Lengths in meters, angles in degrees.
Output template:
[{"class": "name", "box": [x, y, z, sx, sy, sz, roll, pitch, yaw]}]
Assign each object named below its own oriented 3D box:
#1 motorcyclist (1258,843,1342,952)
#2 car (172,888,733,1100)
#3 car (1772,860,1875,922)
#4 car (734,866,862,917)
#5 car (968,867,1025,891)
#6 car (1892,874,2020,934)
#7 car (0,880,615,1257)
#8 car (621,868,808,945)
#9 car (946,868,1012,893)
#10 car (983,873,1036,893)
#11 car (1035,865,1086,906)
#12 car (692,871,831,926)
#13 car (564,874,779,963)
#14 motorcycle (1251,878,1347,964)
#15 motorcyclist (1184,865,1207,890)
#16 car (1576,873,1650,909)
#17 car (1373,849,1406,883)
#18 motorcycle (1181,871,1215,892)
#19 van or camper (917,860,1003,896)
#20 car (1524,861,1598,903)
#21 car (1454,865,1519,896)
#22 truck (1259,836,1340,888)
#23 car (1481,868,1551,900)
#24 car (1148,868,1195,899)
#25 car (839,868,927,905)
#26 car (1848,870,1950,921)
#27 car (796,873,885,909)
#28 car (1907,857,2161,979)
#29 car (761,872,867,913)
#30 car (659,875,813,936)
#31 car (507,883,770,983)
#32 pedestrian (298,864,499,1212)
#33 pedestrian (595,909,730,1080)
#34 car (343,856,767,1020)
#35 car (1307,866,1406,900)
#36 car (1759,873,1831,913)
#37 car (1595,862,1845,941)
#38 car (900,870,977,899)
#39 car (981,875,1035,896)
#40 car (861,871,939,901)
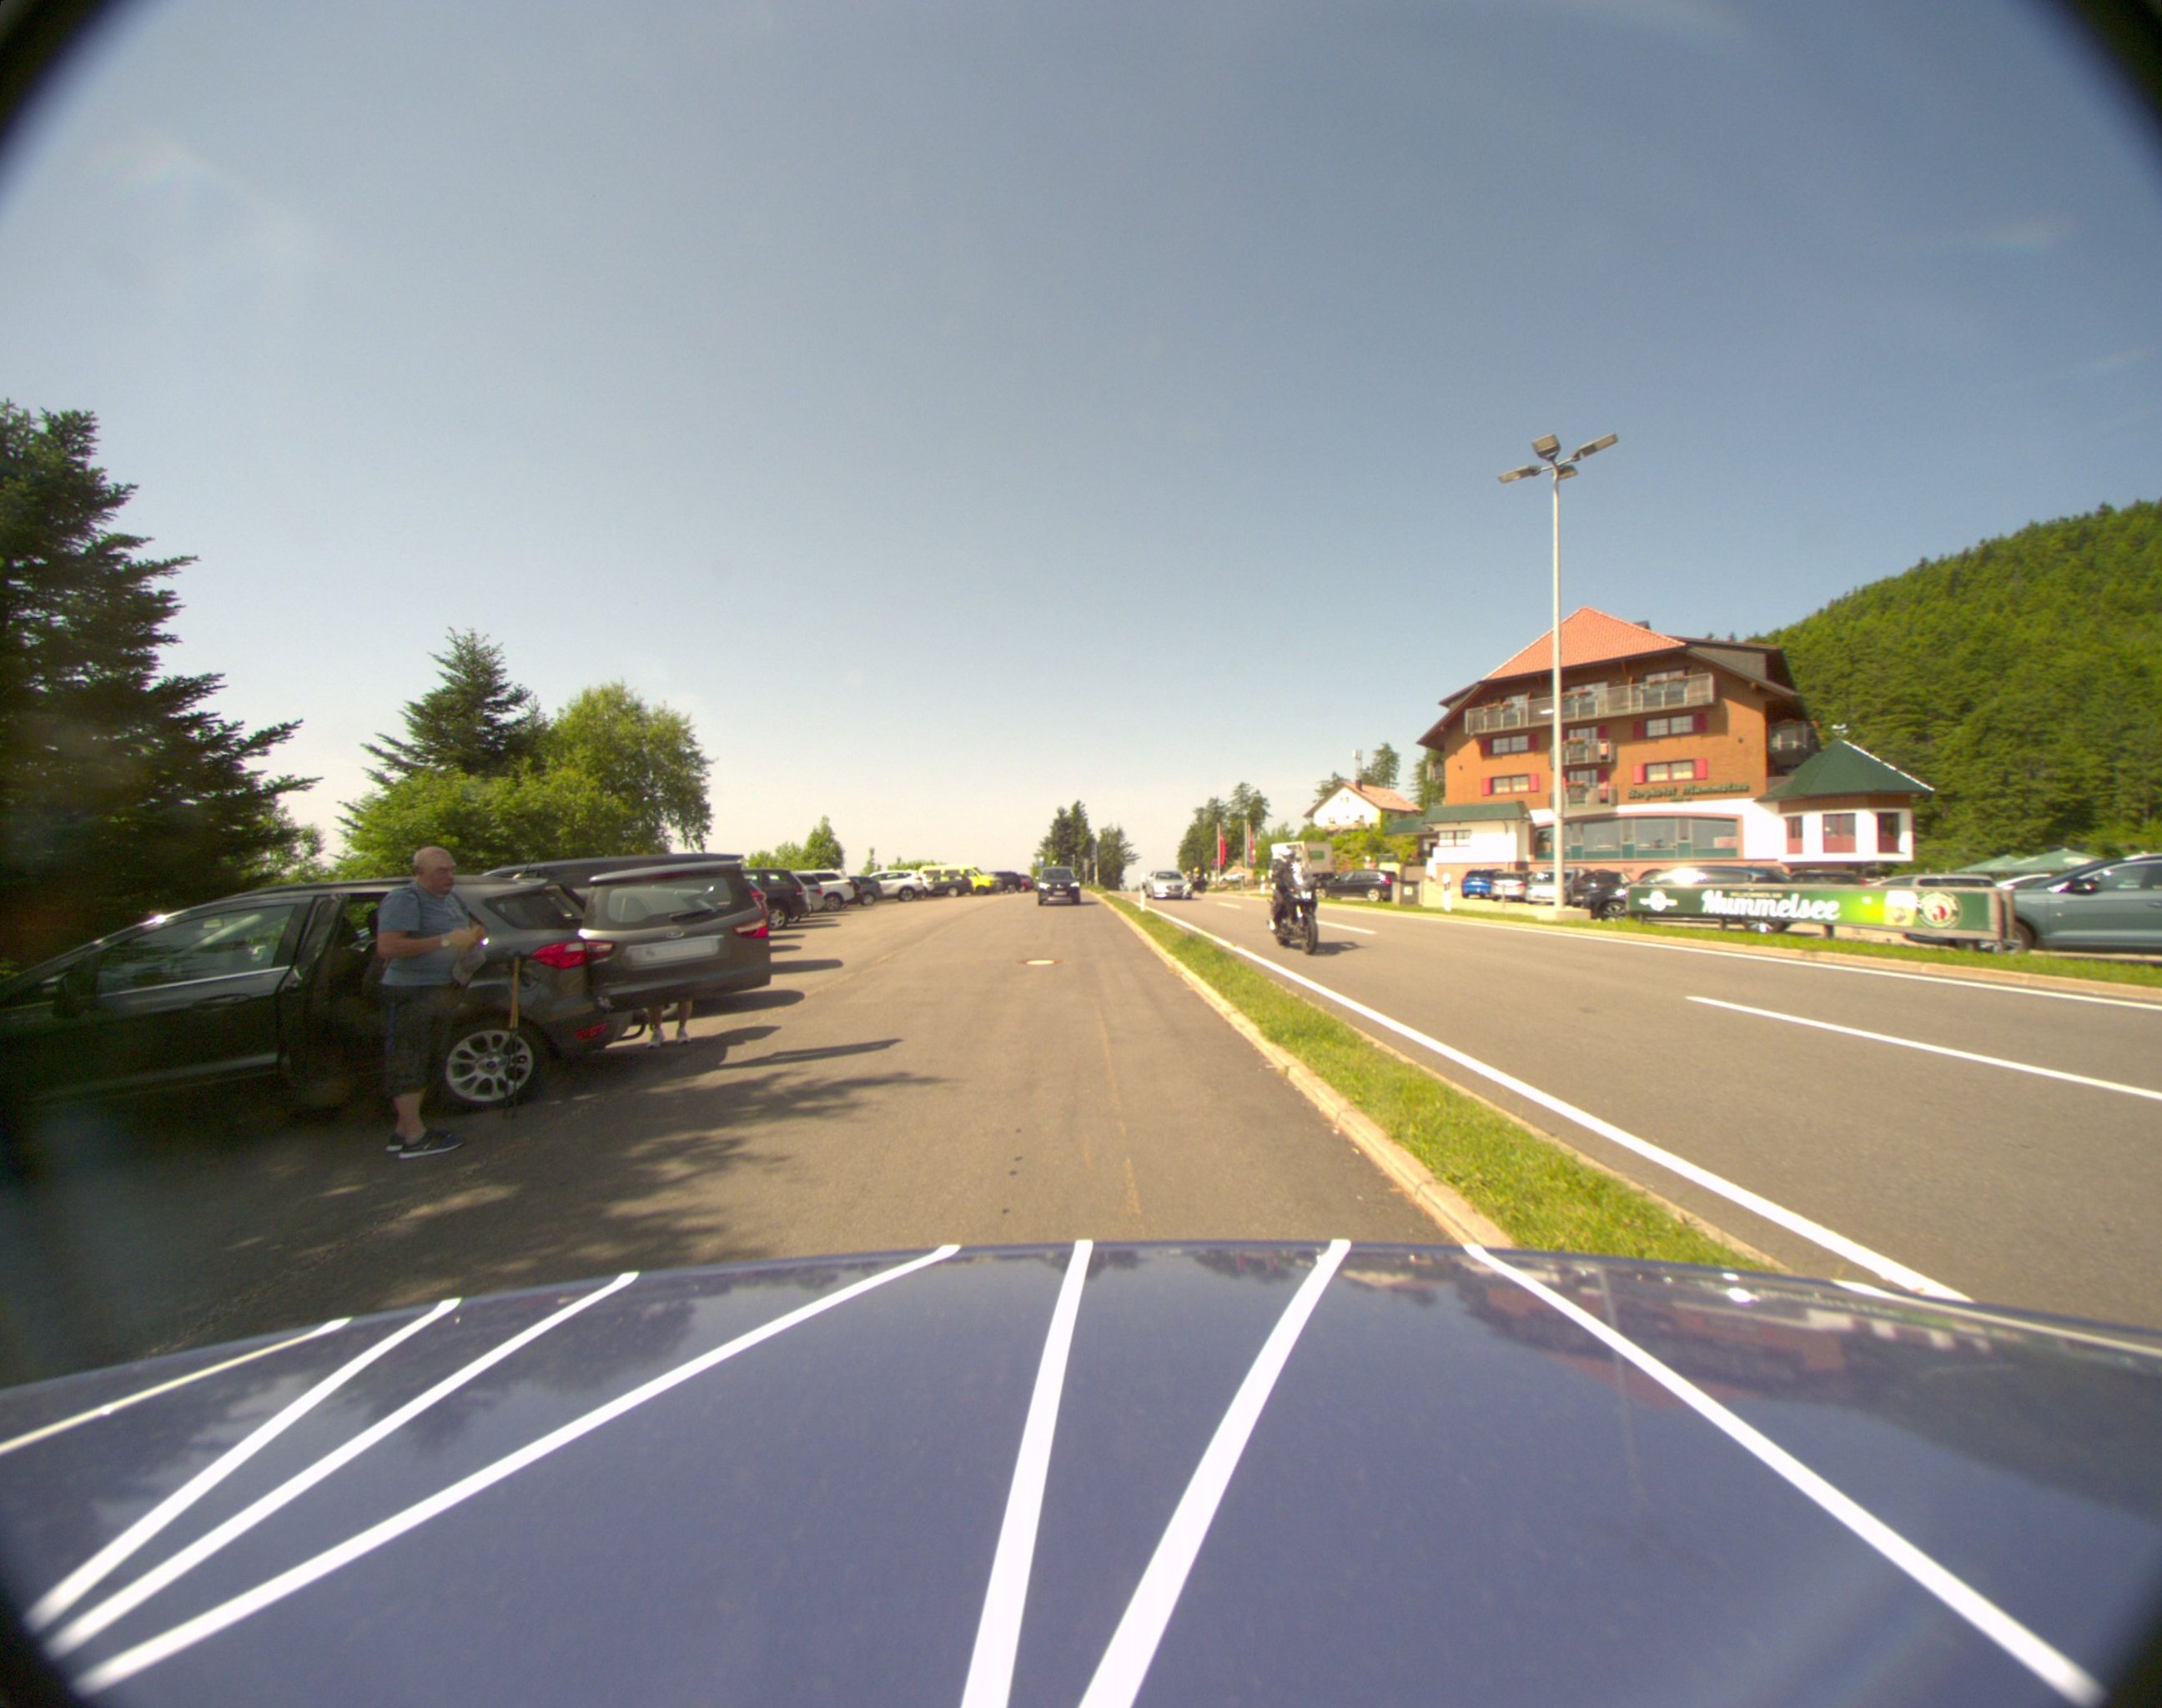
[{"class": "motorcyclist", "box": [3.622, 0.692, 12.692, 0.925, 1.707, 1.452, -1, 0, -2]}, {"class": "car", "box": [-5.832, 1.192, 7.782, 4.005, 1.434, 1.836, -3, 0, -27]}, {"class": "car", "box": [22.340, 1.086, 22.820, 4.009, 1.693, 1.821, 2, -2, -40]}, {"class": "car", "box": [-10.879, 1.413, 29.322, 4.235, 1.684, 1.859, -2, -1, -38]}, {"class": "car", "box": [-6.072, 1.802, 54.893, 3.999, 1.603, 1.916, -2, -1, -5]}, {"class": "car", "box": [22.015, 1.216, 19.266, 1.807, 1.362, 4.010, -1, -3, 45]}, {"class": "car", "box": [-5.523, 1.190, 4.930, 4.004, 1.652, 1.996, -5, 1, -28]}, {"class": "car", "box": [-9.780, 1.334, 20.513, 4.279, 1.684, 1.987, -3, 0, -26]}, {"class": "car", "box": [-6.974, 1.822, 52.157, 4.160, 1.579, 1.706, -2, -2, 3]}, {"class": "car", "box": [-5.650, 2.298, 60.047, 4.000, 1.500, 1.841, -1, -2, -10]}, {"class": "car", "box": [-0.802, 1.310, 32.114, 1.985, 1.607, 4.151, 0, -1, 1]}, {"class": "car", "box": [-10.761, 1.458, 25.649, 4.006, 1.539, 1.816, -3, 0, -33]}, {"class": "car", "box": [-9.116, 1.364, 17.143, 4.005, 1.580, 1.860, -3, 0, -29]}, {"class": "motorcycle", "box": [3.596, 1.059, 12.761, 0.878, 1.249, 2.277, -1, 0, -2]}, {"class": "motorcyclist", "box": [8.169, 1.681, 54.259, 1.250, 1.709, 1.062, 0, 0, -38]}, {"class": "car", "box": [22.450, 1.529, 32.007, 1.909, 1.421, 4.010, -1, -3, 44]}, {"class": "car", "box": [23.934, 0.967, 59.012, 1.996, 2.480, 4.006, 0, -2, 16]}, {"class": "motorcycle", "box": [8.403, 1.957, 54.411, 2.449, 1.398, 1.003, 0, 0, -39]}, {"class": "van or camper", "box": [-7.798, 1.537, 49.120, 5.101, 2.001, 1.883, -3, -2, 4]}, {"class": "car", "box": [22.452, 1.299, 35.482, 4.541, 1.852, 1.830, 2, -2, -43]}, {"class": "car", "box": [22.327, 1.423, 41.767, 1.934, 1.653, 4.555, -1, -1, 44]}, {"class": "truck", "box": [18.327, 0.624, 63.295, 3.062, 3.948, 8.790, -4, -2, 39]}, {"class": "car", "box": [21.999, 1.510, 38.361, 4.009, 1.536, 1.994, 2, -3, -44]}, {"class": "car", "box": [4.367, 1.429, 37.103, 1.781, 1.448, 4.001, 1, -2, 0]}, {"class": "car", "box": [-10.329, 1.668, 39.545, 4.189, 1.640, 1.889, -3, 0, -20]}, {"class": "car", "box": [27.268, 1.356, 25.456, 1.994, 1.542, 4.010, 0, -2, 42]}, {"class": "car", "box": [-11.330, 1.715, 35.784, 3.810, 1.450, 1.660, -3, -1, -23]}, {"class": "car", "box": [14.288, 0.826, 10.347, 1.744, 1.558, 4.048, 0, -1, -44]}, {"class": "car", "box": [-11.557, 1.642, 32.916, 4.057, 1.452, 1.891, -3, 0, -29]}, {"class": "car", "box": [-10.339, 1.492, 22.905, 4.005, 1.467, 1.764, -3, 0, -26]}, {"class": "car", "box": [-8.163, 1.377, 14.286, 4.006, 1.406, 1.741, -3, 0, -32]}, {"class": "pedestrian", "box": [-3.844, 0.957, 4.297, 0.579, 1.750, 0.634, -3, 1, 35]}, {"class": "pedestrian", "box": [-3.694, 1.205, 6.755, 0.775, 1.394, 0.669, 0, -1, 6]}, {"class": "car", "box": [-7.373, 1.092, 11.345, 4.777, 1.869, 1.963, -3, 0, -19]}, {"class": "car", "box": [13.393, 1.394, 37.063, 4.181, 1.531, 1.812, -1, -3, 45]}, {"class": "car", "box": [27.584, 1.475, 29.426, 1.929, 1.409, 4.010, 0, -2, 42]}, {"class": "car", "box": [14.080, 0.994, 16.936, 1.787, 1.542, 3.989, 2, -2, -39]}, {"class": "car", "box": [-8.558, 1.833, 46.035, 4.363, 1.478, 1.812, -3, -2, -5]}, {"class": "car", "box": [-6.164, 2.663, 63.872, 4.410, 1.558, 1.907, -2, -2, -6]}, {"class": "car", "box": [-10.073, 1.775, 42.555, 4.100, 1.491, 1.942, -2, 0, -12]}]
